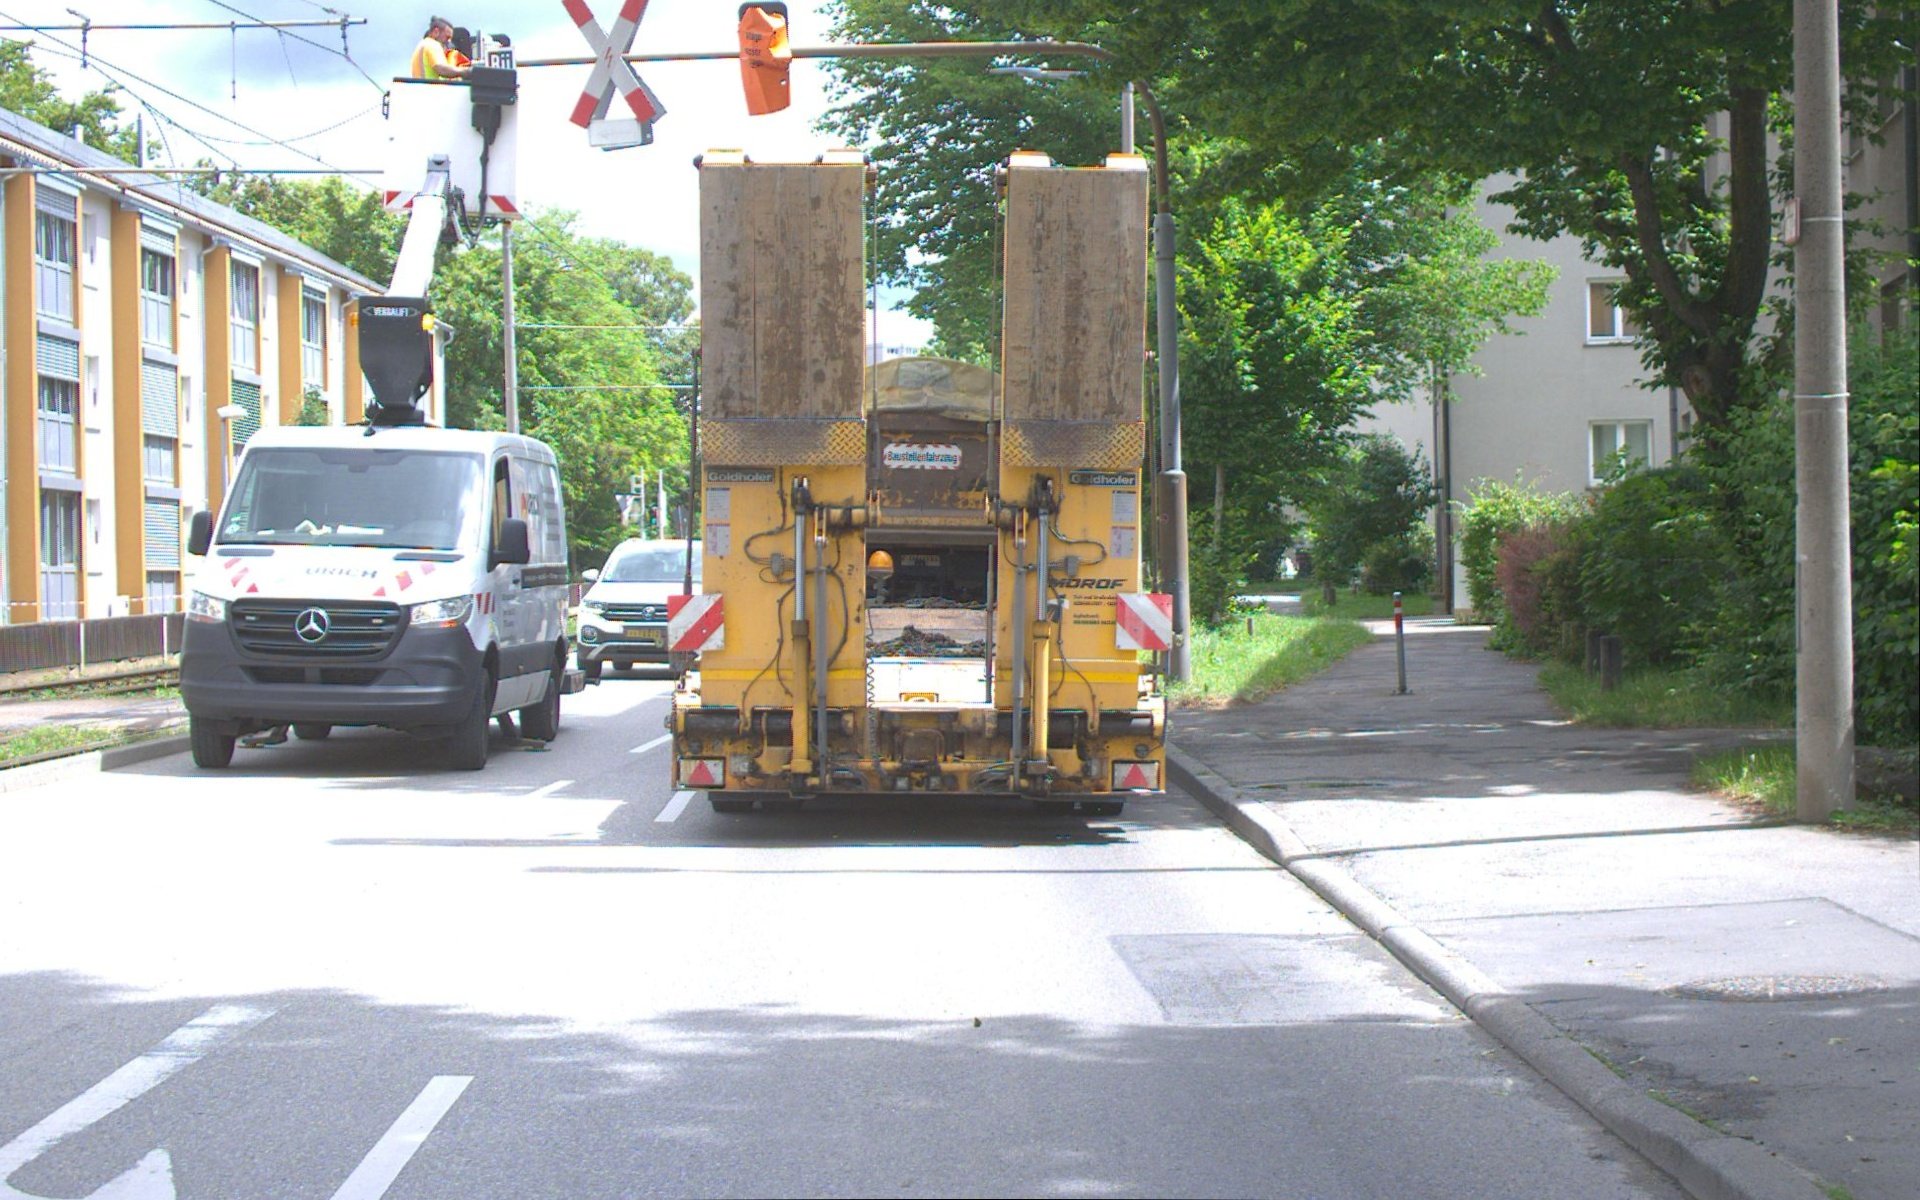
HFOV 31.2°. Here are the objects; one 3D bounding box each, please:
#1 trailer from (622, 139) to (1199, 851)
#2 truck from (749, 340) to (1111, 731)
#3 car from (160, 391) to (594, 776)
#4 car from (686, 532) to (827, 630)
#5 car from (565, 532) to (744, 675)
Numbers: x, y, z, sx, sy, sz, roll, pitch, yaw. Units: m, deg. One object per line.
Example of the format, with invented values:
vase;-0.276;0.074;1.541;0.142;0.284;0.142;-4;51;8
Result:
trailer;-0.252;-0.622;22.728;2.822;3.512;11.052;1;1;0
truck;-0.226;-0.603;32.089;2.917;3.156;7.680;1;1;0
car;-4.027;-0.166;24.928;1.993;2.422;6.322;1;1;1
car;-3.245;-0.335;55.614;1.879;1.476;4.528;1;1;1
car;-3.465;0.007;39.598;1.718;1.547;3.917;1;1;0
